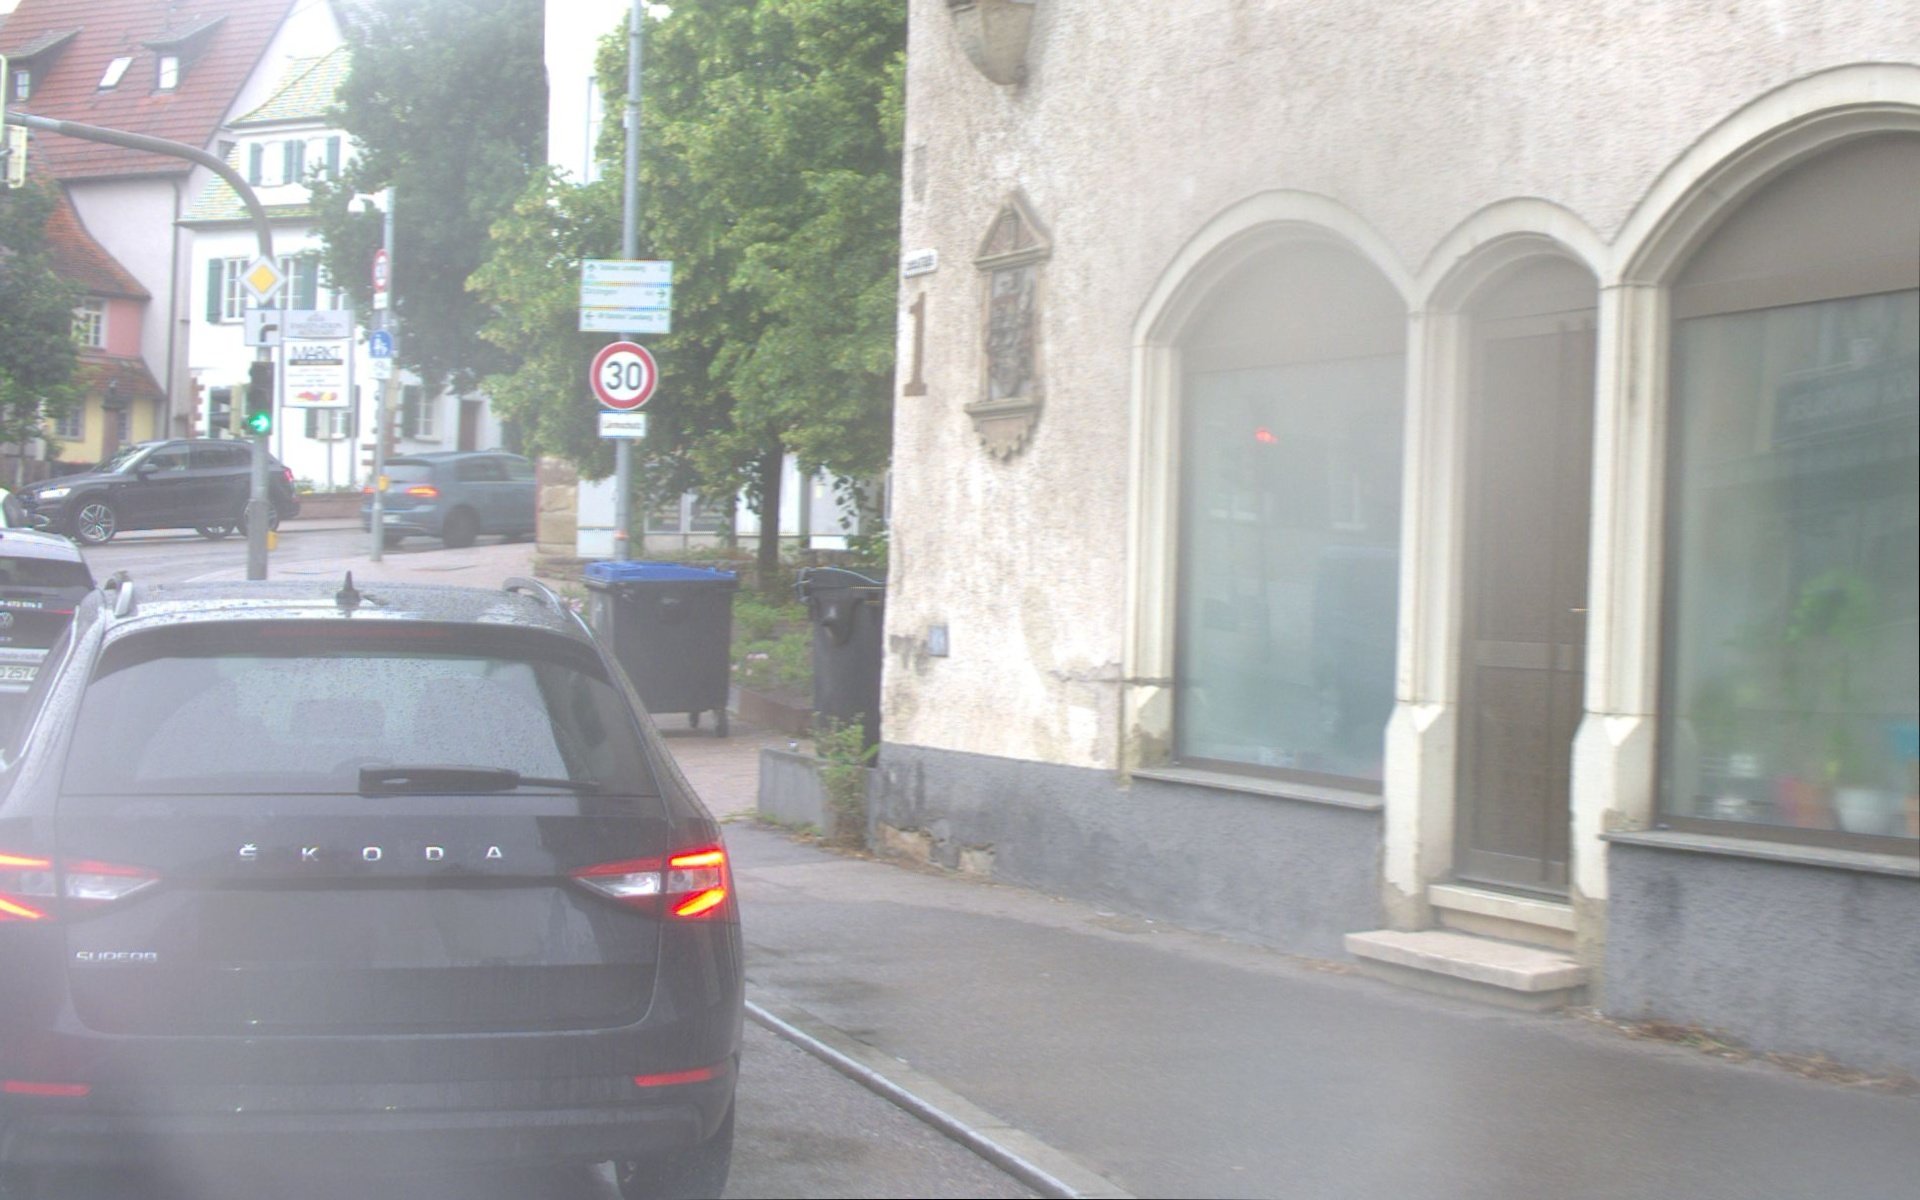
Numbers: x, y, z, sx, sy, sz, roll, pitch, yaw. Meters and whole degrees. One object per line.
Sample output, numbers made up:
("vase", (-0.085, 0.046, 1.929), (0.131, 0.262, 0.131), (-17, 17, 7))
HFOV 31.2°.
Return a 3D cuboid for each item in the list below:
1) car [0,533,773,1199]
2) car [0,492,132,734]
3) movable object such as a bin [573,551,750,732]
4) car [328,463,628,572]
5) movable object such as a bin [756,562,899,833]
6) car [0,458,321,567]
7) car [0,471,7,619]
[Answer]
("car", (-1.852, 0.624, 8.843), (1.886, 1.443, 4.358), (2, -1, -14))
("car", (-7.588, 0.049, 26.036), (1.856, 1.467, 4.002), (-3, 6, -23))
("movable object such as a bin", (-2.297, 0.307, 26.310), (1.154, 1.308, 1.187), (2, 1, -13))
("car", (-7.362, -1.257, 52.621), (3.987, 1.297, 2.000), (5, 0, -38))
("movable object such as a bin", (-0.731, 0.524, 18.866), (0.412, 1.437, 0.644), (1, 2, -43))
("car", (-12.896, -1.401, 55.410), (4.733, 1.582, 1.830), (1, 2, -32))
("car", (-11.919, -0.704, 38.886), (1.884, 1.590, 4.327), (2, 2, -19))
